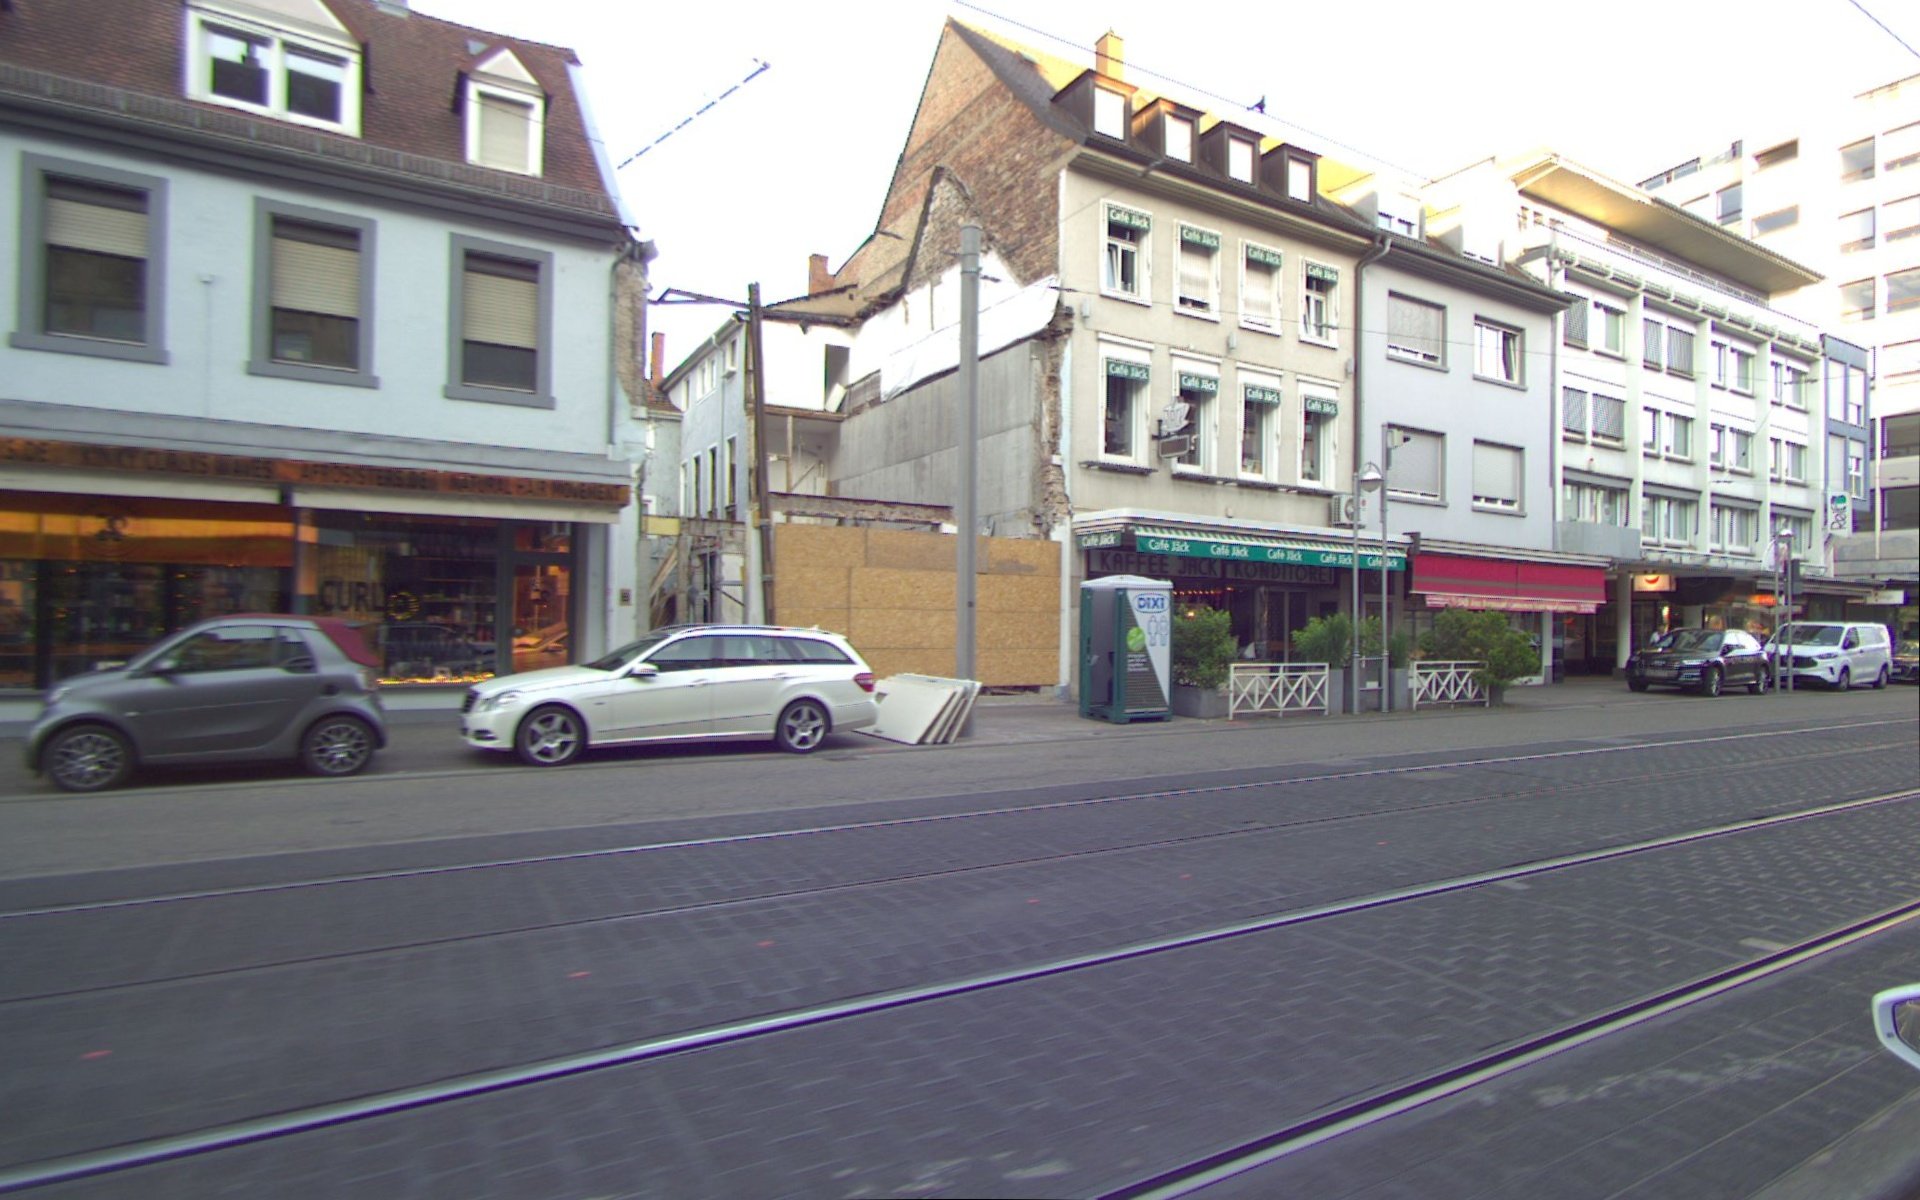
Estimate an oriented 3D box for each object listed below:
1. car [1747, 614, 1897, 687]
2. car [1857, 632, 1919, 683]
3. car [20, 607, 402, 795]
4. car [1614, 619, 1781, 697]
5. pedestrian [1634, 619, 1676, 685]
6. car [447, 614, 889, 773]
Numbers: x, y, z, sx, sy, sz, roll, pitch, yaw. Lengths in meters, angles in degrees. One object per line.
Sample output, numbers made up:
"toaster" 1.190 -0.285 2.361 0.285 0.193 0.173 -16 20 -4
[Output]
"car" 25.724 1.467 29.931 4.785 1.961 1.908 2 1 -31
"car" 32.205 1.922 33.676 4.577 1.541 1.907 2 1 -32
"car" -7.101 0.891 9.844 2.781 1.524 1.583 2 1 -31
"car" 19.261 1.470 26.202 4.378 1.786 1.908 2 1 -30
"pedestrian" 20.286 1.509 29.318 0.827 1.844 0.645 1 2 -30
"car" -3.419 1.008 12.055 4.785 1.524 1.840 2 1 -31
